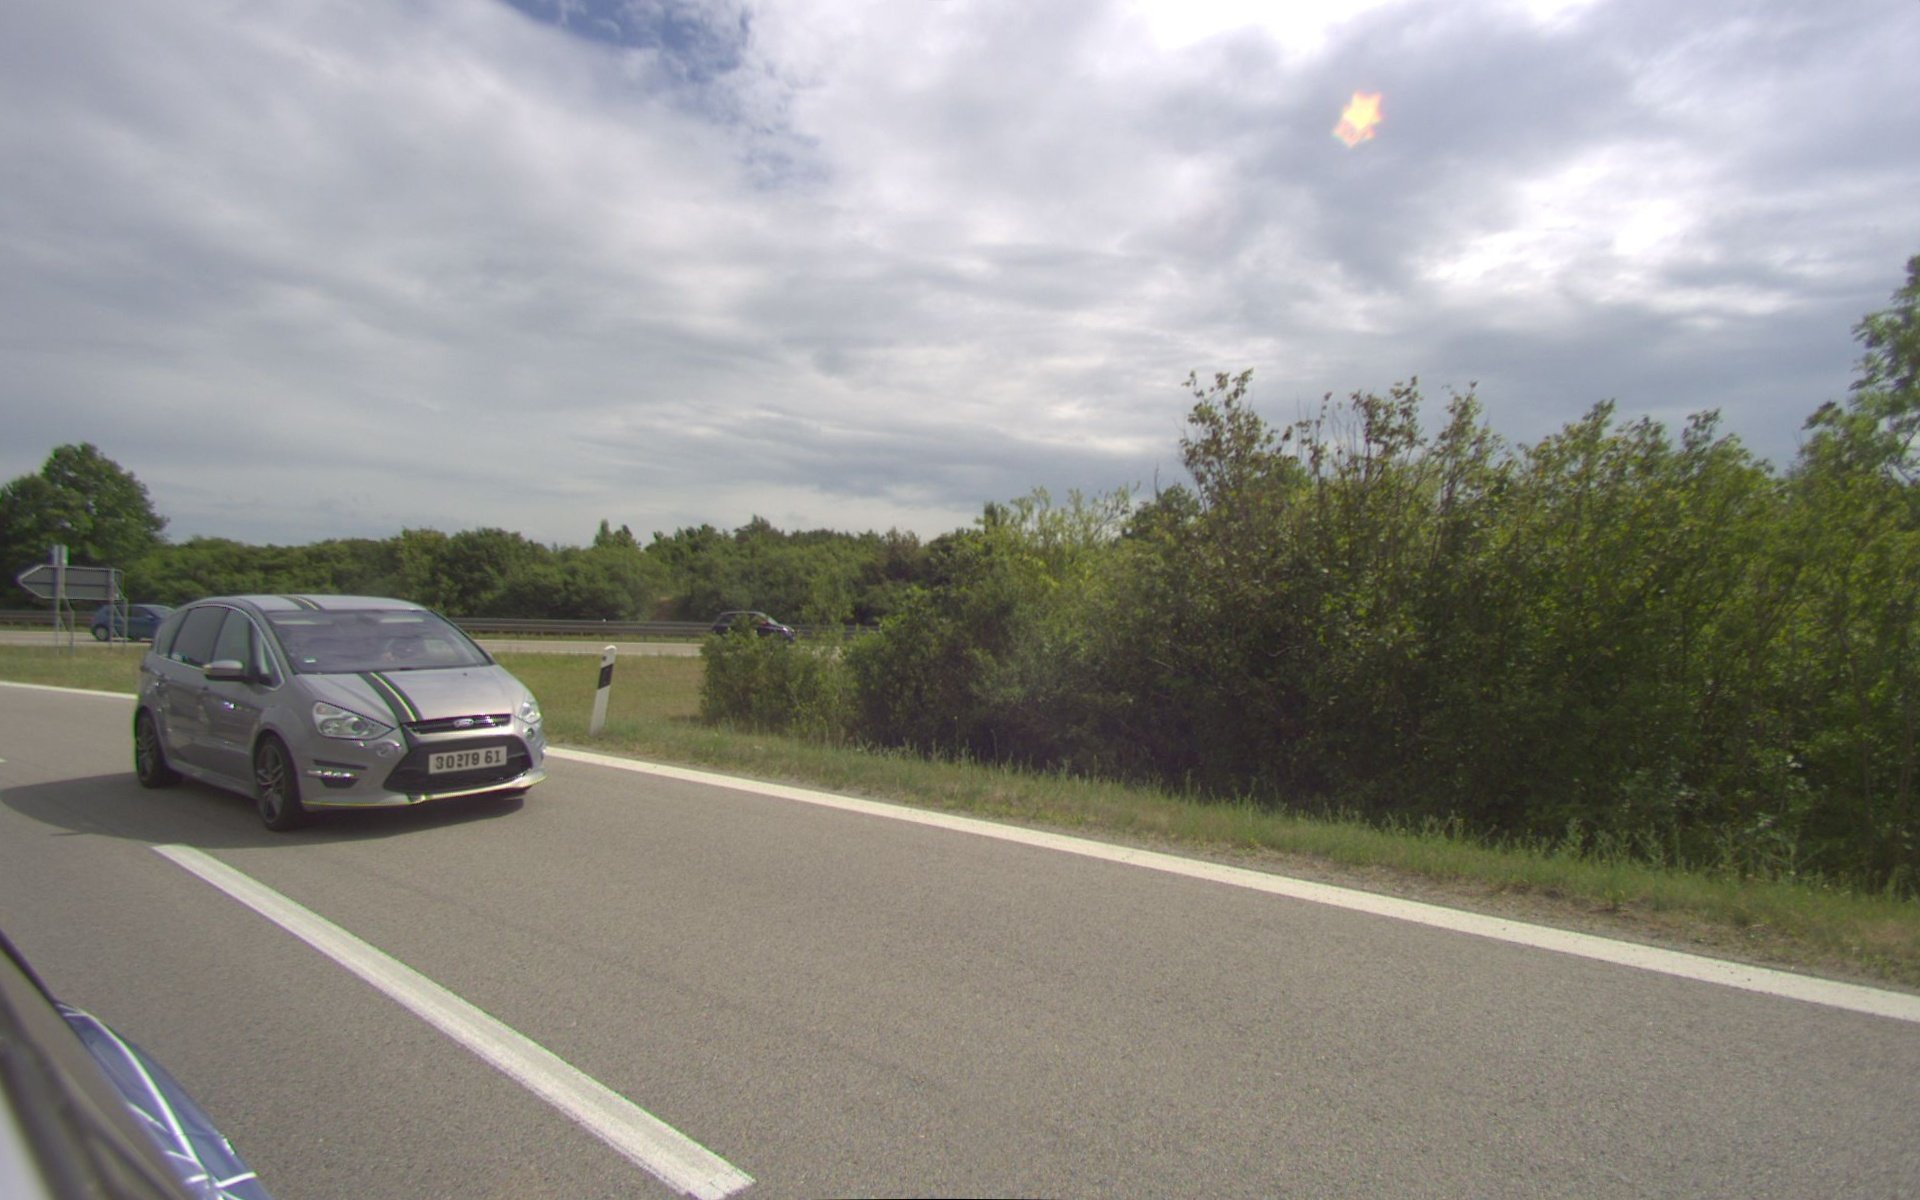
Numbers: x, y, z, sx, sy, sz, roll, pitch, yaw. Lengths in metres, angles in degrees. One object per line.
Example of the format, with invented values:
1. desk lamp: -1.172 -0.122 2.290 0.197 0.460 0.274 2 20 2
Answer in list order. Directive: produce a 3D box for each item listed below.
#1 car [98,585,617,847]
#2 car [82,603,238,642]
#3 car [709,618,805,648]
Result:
1. car: -5.081 0.730 8.321 4.577 1.589 2.003 0 -2 36
2. car: -31.384 0.894 39.802 4.521 1.434 2.000 1 -1 -1
3. car: -8.600 1.415 43.004 3.640 1.180 1.999 1 -2 2
